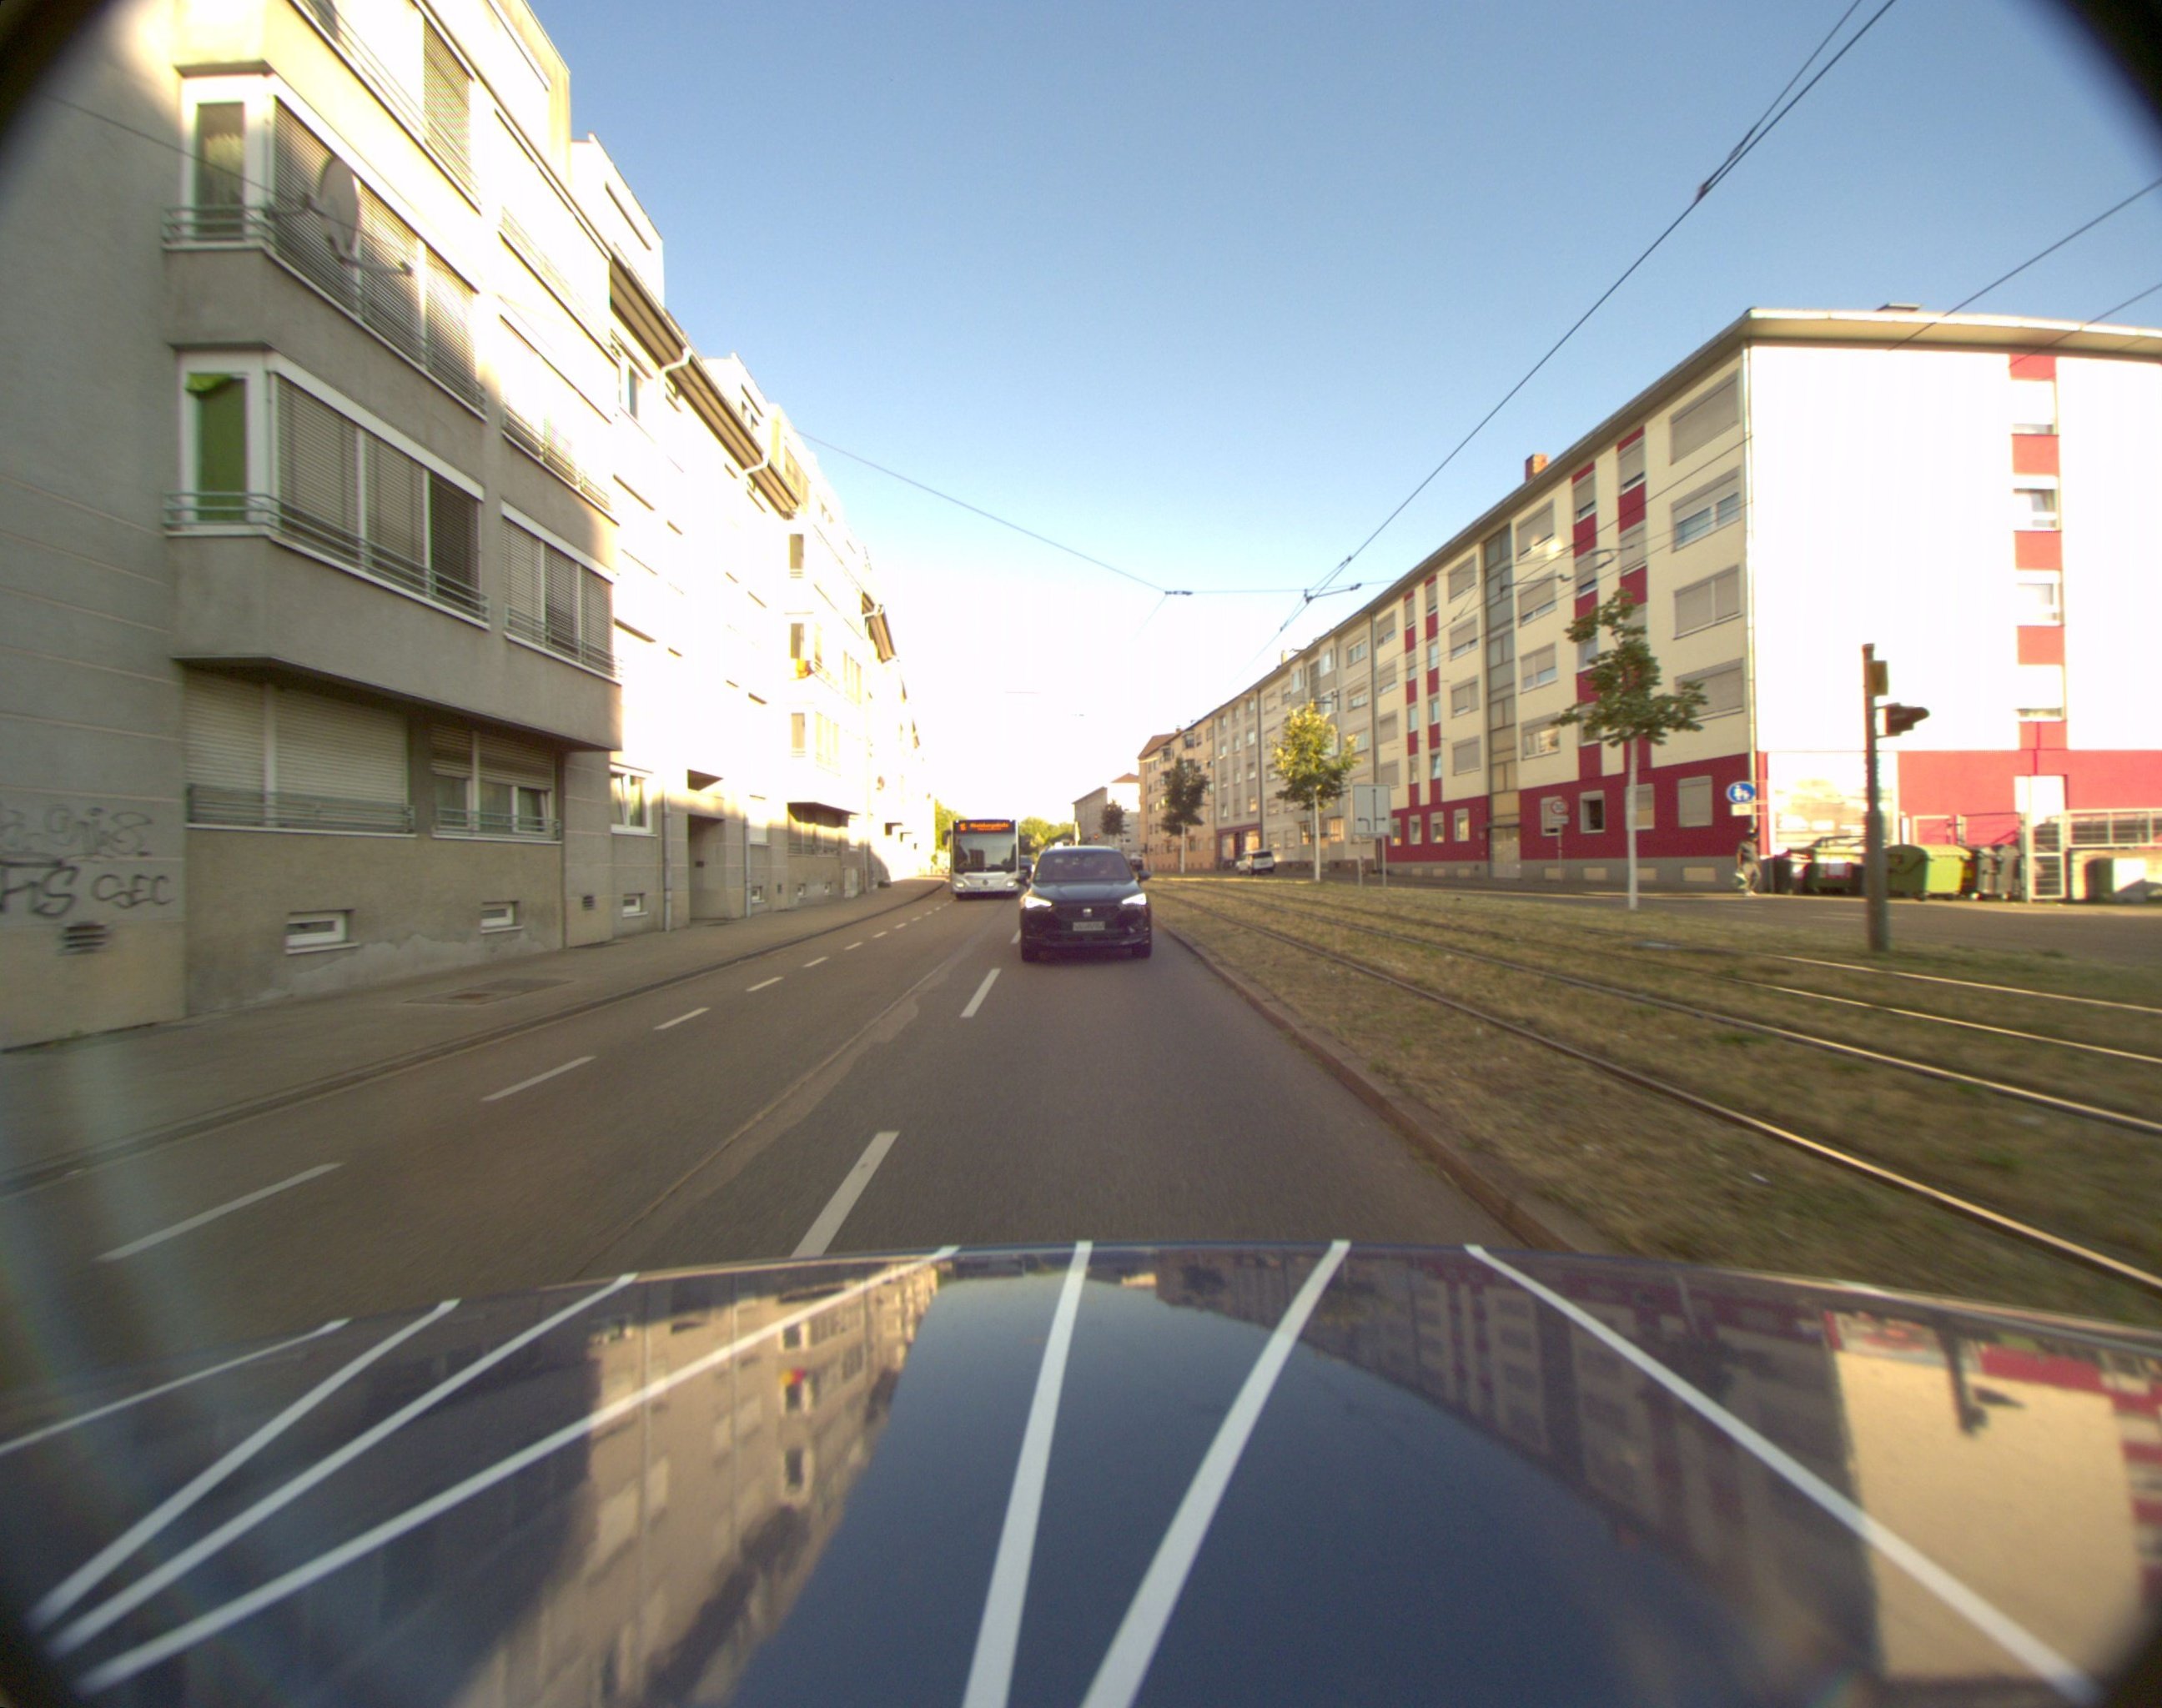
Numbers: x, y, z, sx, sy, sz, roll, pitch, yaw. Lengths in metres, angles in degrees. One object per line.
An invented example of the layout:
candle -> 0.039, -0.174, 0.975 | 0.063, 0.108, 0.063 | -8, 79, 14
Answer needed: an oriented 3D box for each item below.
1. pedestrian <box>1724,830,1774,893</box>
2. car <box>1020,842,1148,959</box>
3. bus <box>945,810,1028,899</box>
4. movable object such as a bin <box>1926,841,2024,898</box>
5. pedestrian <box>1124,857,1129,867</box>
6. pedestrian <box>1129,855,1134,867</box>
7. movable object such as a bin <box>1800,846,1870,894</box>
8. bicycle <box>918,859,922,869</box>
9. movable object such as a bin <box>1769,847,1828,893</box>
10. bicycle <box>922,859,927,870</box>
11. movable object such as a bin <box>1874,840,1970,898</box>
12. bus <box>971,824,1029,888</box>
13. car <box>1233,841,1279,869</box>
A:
pedestrian -> 18.276, 0.206, 20.796 | 0.615, 1.679, 0.791 | -1, 0, -4
car -> 0.045, 0.698, 13.111 | 1.788, 1.614, 4.216 | -2, 0, 0
bus -> -3.691, 0.051, 32.143 | 2.732, 3.059, 10.597 | -2, 0, -4
movable object such as a bin -> 22.763, 0.381, 19.368 | 1.220, 1.407, 1.107 | -1, 1, -3
pedestrian -> 6.777, 1.165, 113.329 | 0.625, 1.481, 0.582 | -1, 1, -10
pedestrian -> 7.515, 1.042, 112.881 | 0.634, 1.760, 0.826 | -1, 0, 16
movable object such as a bin -> 20.746, 0.419, 20.924 | 1.161, 1.278, 0.806 | -1, 1, -3
bicycle -> -15.307, 0.981, 72.409 | 0.279, 0.965, 1.728 | 2, -1, -10
movable object such as a bin -> 19.662, 0.437, 20.834 | 0.868, 1.219, 0.806 | -1, 1, -3
bicycle -> -14.897, 1.004, 72.470 | 0.361, 1.026, 1.728 | 2, -1, -10
movable object such as a bin -> 21.314, 0.376, 19.289 | 1.220, 1.407, 1.138 | -1, 1, -3
bus -> -4.352, 0.133, 42.747 | 2.713, 3.059, 10.597 | -2, 0, -4
car -> 13.202, 0.070, 57.636 | 1.872, 1.818, 4.419 | -7, 1, -7
